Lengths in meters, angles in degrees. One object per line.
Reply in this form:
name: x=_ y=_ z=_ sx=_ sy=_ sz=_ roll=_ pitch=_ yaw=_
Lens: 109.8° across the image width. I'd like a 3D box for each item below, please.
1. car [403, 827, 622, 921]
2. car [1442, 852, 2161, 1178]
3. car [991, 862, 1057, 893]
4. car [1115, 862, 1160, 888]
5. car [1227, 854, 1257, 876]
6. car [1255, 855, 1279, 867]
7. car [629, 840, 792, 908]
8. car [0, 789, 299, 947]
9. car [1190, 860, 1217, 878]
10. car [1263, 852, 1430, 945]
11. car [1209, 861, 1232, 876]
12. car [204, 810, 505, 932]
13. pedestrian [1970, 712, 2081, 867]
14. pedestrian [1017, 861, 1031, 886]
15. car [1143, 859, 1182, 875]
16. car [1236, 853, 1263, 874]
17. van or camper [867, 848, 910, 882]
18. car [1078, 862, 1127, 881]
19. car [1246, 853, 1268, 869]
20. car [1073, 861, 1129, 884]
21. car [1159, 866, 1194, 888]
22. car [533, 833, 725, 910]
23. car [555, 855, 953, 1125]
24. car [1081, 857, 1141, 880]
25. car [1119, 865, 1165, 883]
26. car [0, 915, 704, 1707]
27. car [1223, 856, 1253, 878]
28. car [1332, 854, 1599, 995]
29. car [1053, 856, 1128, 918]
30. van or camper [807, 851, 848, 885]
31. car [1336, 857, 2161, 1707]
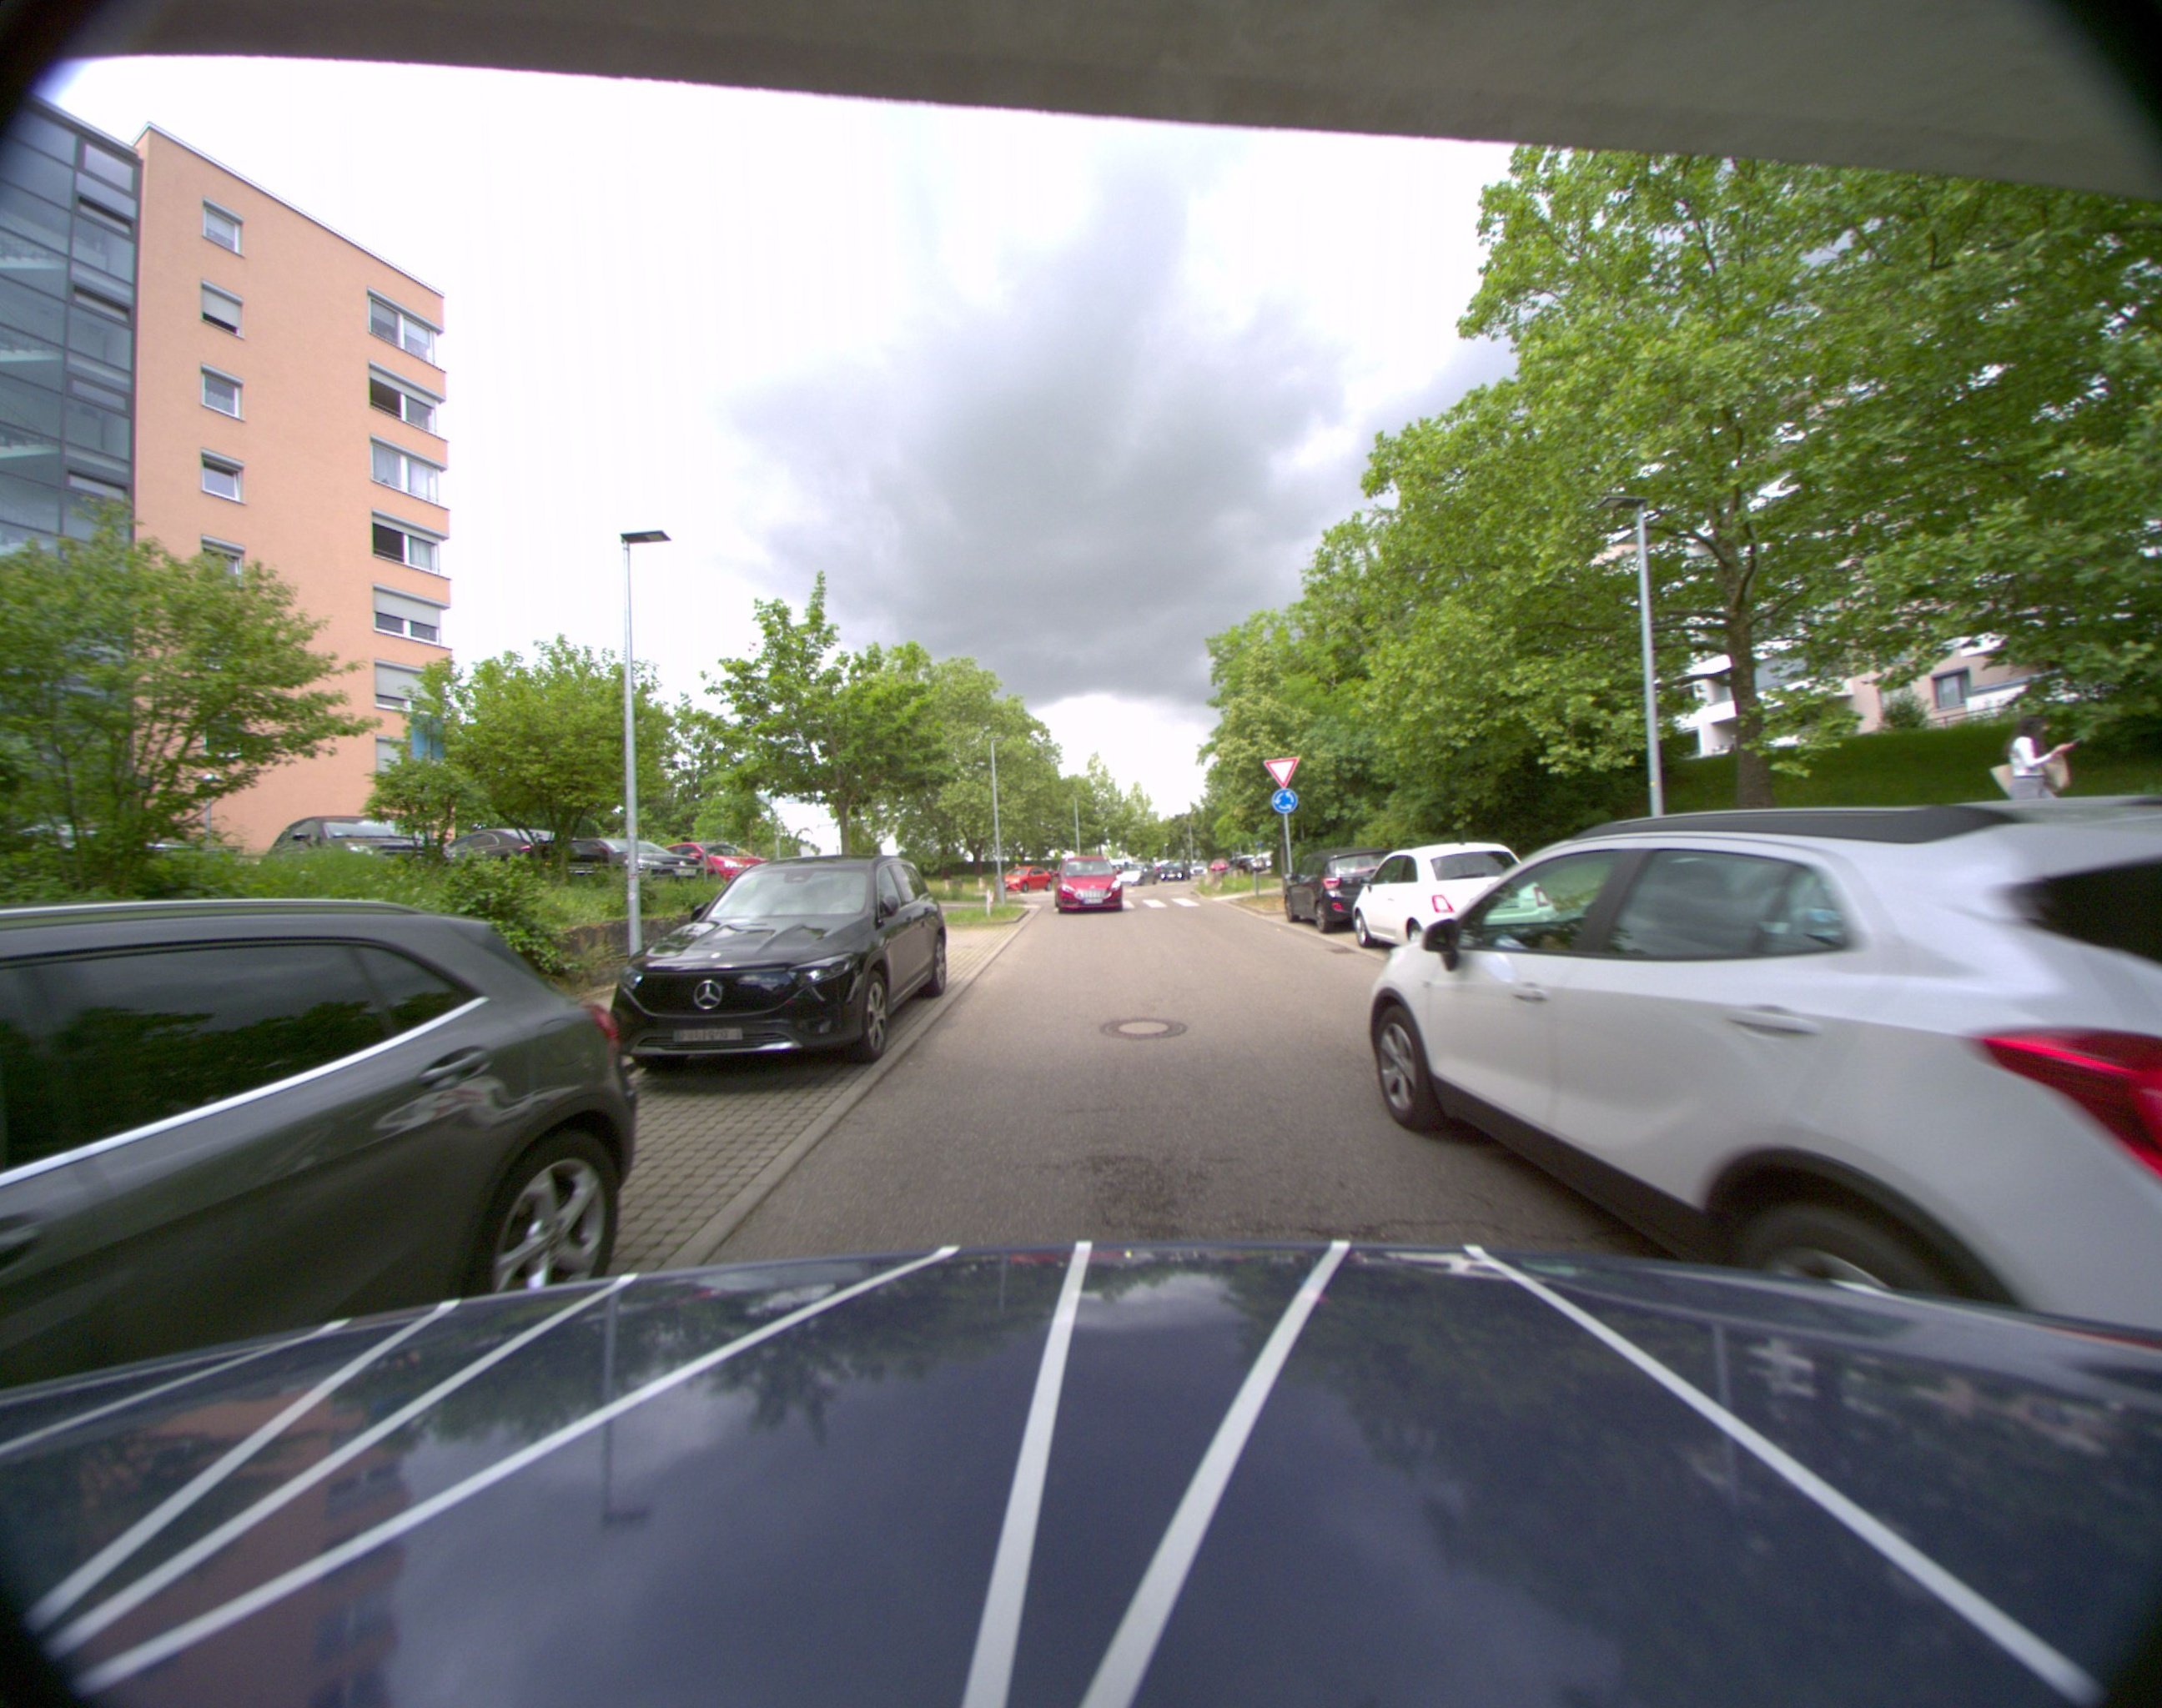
car: x=-10.878 y=0.411 z=14.546 sx=3.654 sy=1.489 sz=1.687 roll=-4 pitch=-2 yaw=23
car: x=4.540 y=0.808 z=5.563 sx=1.889 sy=1.418 sz=4.001 roll=-4 pitch=-2 yaw=1
car: x=-3.075 y=1.265 z=41.976 sx=1.756 sy=1.506 sz=4.007 roll=-4 pitch=-2 yaw=27
car: x=3.817 y=1.376 z=51.102 sx=1.756 sy=1.506 sz=4.007 roll=-4 pitch=-2 yaw=22
car: x=13.611 y=0.886 z=64.070 sx=1.802 sy=1.605 sz=4.484 roll=-7 pitch=-1 yaw=17
car: x=29.329 y=1.061 z=119.876 sx=1.674 sy=1.630 sz=3.995 roll=-3 pitch=-2 yaw=-20
car: x=-9.431 y=0.517 z=19.341 sx=3.654 sy=1.430 sz=1.687 roll=-4 pitch=-2 yaw=23
car: x=-12.738 y=0.294 z=9.830 sx=4.549 sy=1.658 sz=1.948 roll=-4 pitch=-2 yaw=20
car: x=12.527 y=1.493 z=77.479 sx=1.756 sy=1.606 sz=4.007 roll=-4 pitch=-2 yaw=22
car: x=5.083 y=0.769 z=15.160 sx=1.791 sy=1.459 sz=3.999 roll=-4 pitch=1 yaw=-1
car: x=16.726 y=1.689 z=91.025 sx=1.756 sy=1.606 sz=4.007 roll=-4 pitch=-2 yaw=22
car: x=-11.785 y=0.316 z=12.374 sx=3.992 sy=1.604 sz=1.948 roll=-4 pitch=-2 yaw=20
pedestrian: x=11.211 y=-0.732 z=9.048 sx=0.658 sy=1.711 sz=0.741 roll=-5 pitch=-2 yaw=45
pedestrian: x=-3.912 y=1.359 z=52.450 sx=0.689 sy=1.646 sz=0.601 roll=-5 pitch=-1 yaw=16
car: x=8.636 y=1.376 z=80.501 sx=3.674 sy=1.637 sz=1.854 roll=-2 pitch=-1 yaw=19
car: x=15.346 y=0.876 z=69.098 sx=1.810 sy=1.654 sz=4.443 roll=-7 pitch=-3 yaw=17
van or camper: x=-17.370 y=0.995 z=68.478 sx=2.118 sy=2.781 sz=4.470 roll=-3 pitch=-2 yaw=-36
car: x=1.723 y=1.398 z=60.021 sx=3.516 sy=1.452 sz=1.741 roll=-1 pitch=-1 yaw=17
car: x=18.405 y=0.748 z=79.445 sx=1.692 sy=1.478 sz=3.959 roll=-7 pitch=-3 yaw=18
car: x=1.653 y=1.542 z=62.276 sx=4.156 sy=1.592 sz=1.741 roll=-4 pitch=-1 yaw=16
car: x=7.762 y=1.837 z=61.555 sx=1.756 sy=1.606 sz=4.007 roll=-4 pitch=-2 yaw=22
car: x=-10.068 y=0.410 z=16.920 sx=3.791 sy=1.413 sz=1.687 roll=-4 pitch=-2 yaw=23
car: x=-2.457 y=0.901 z=7.051 sx=1.818 sy=1.668 sz=4.370 roll=-2 pitch=-1 yaw=-1
car: x=2.560 y=1.272 z=64.913 sx=4.780 sy=1.821 sz=1.845 roll=-2 pitch=0 yaw=16
car: x=5.633 y=1.845 z=69.644 sx=3.829 sy=1.511 sz=1.914 roll=-2 pitch=0 yaw=17
car: x=-2.495 y=1.030 z=1.166 sx=1.704 sy=1.488 sz=4.118 roll=-2 pitch=0 yaw=0
car: x=12.174 y=0.955 z=58.691 sx=1.692 sy=1.456 sz=4.462 roll=-7 pitch=-2 yaw=17
car: x=4.991 y=0.813 z=10.472 sx=1.889 sy=1.451 sz=3.546 roll=-4 pitch=1 yaw=2
car: x=0.367 y=0.901 z=22.660 sx=1.978 sy=1.635 sz=4.537 roll=-1 pitch=-1 yaw=3
van or camper: x=-22.990 y=1.309 z=68.870 sx=2.118 sy=2.781 sz=4.470 roll=-3 pitch=-2 yaw=-36
car: x=2.501 y=0.847 z=2.775 sx=1.752 sy=1.601 sz=4.052 roll=-2 pitch=-1 yaw=0
